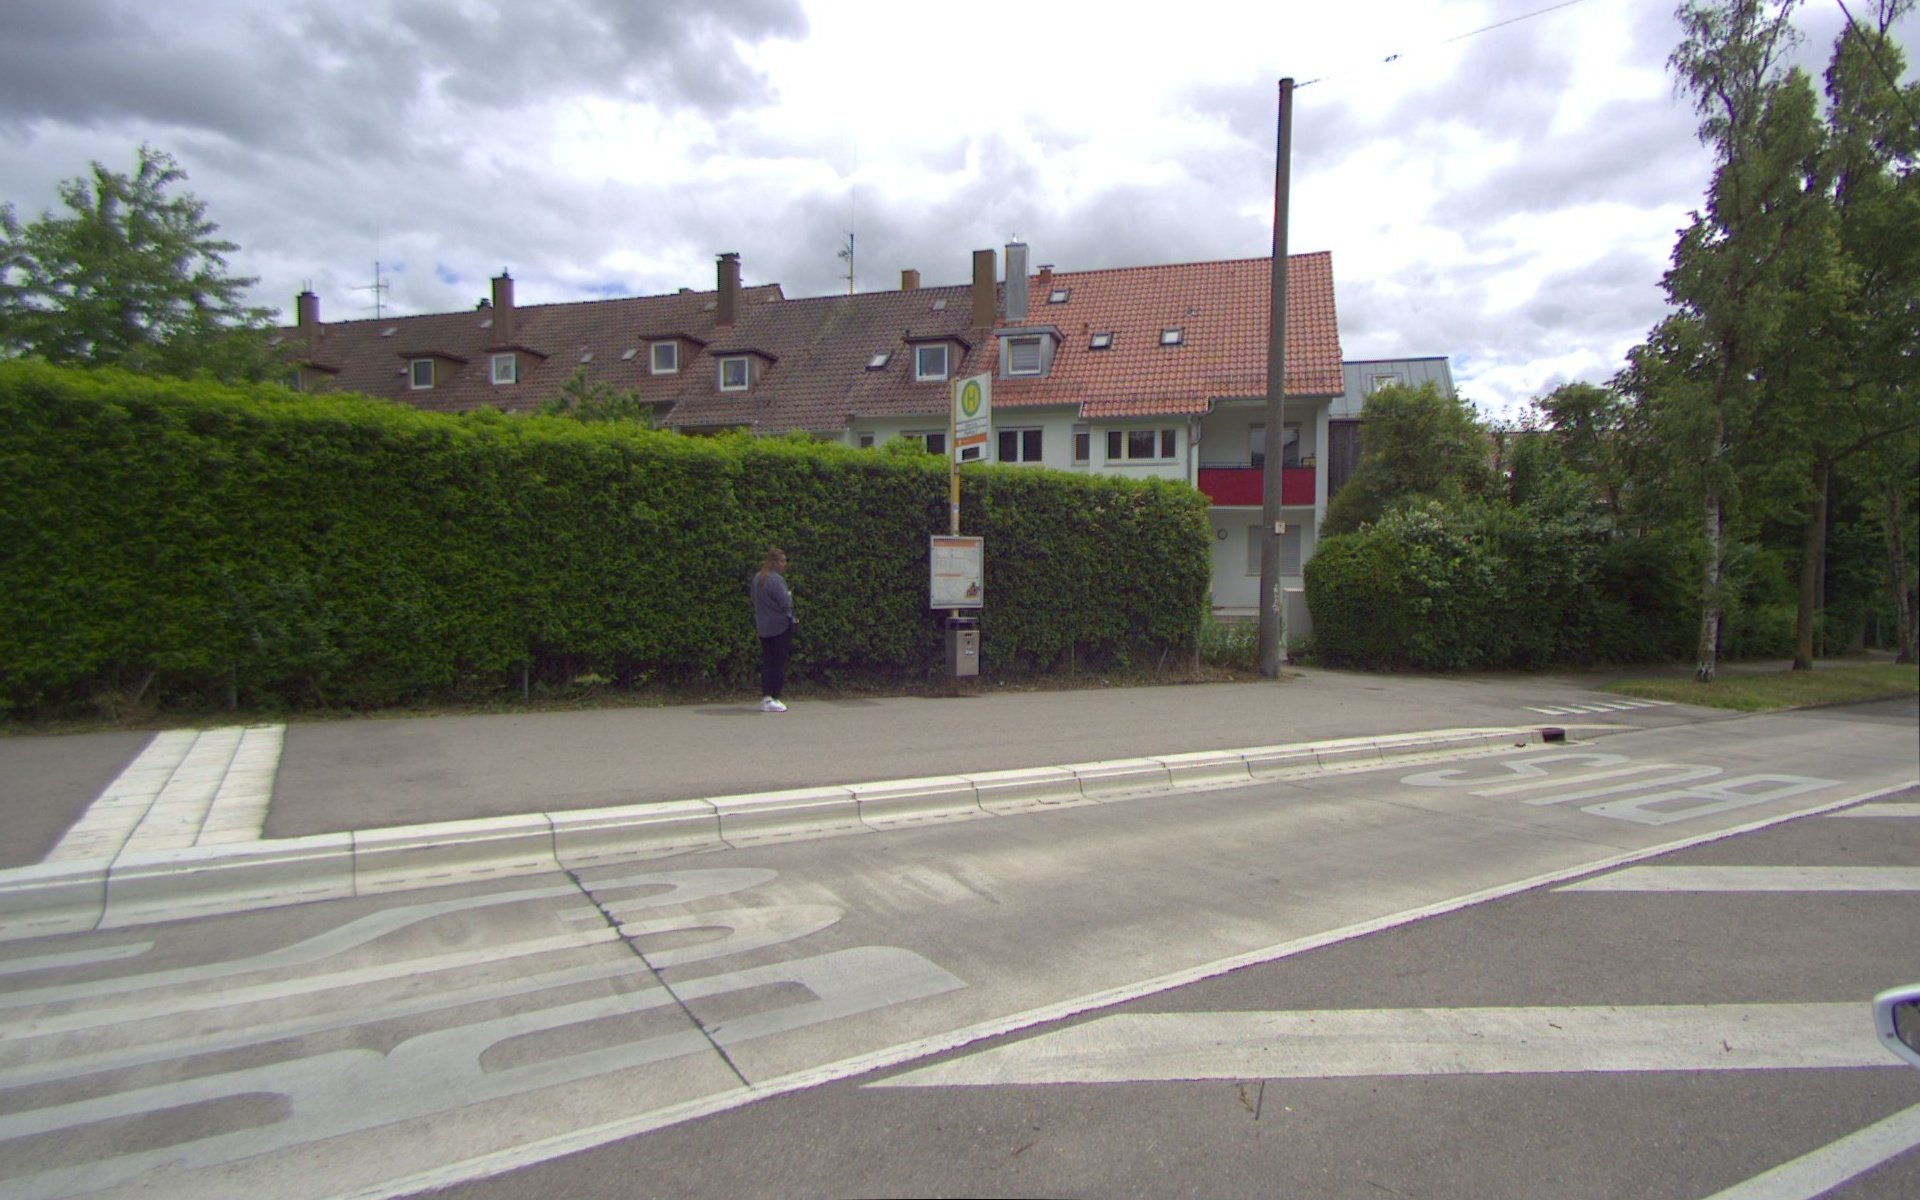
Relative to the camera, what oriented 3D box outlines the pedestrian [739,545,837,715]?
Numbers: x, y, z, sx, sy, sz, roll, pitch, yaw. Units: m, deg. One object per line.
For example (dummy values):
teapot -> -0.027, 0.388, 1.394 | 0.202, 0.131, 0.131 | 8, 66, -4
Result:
pedestrian -> -1.851, 0.306, 10.800 | 0.771, 1.733, 0.686 | 1, 1, -39
